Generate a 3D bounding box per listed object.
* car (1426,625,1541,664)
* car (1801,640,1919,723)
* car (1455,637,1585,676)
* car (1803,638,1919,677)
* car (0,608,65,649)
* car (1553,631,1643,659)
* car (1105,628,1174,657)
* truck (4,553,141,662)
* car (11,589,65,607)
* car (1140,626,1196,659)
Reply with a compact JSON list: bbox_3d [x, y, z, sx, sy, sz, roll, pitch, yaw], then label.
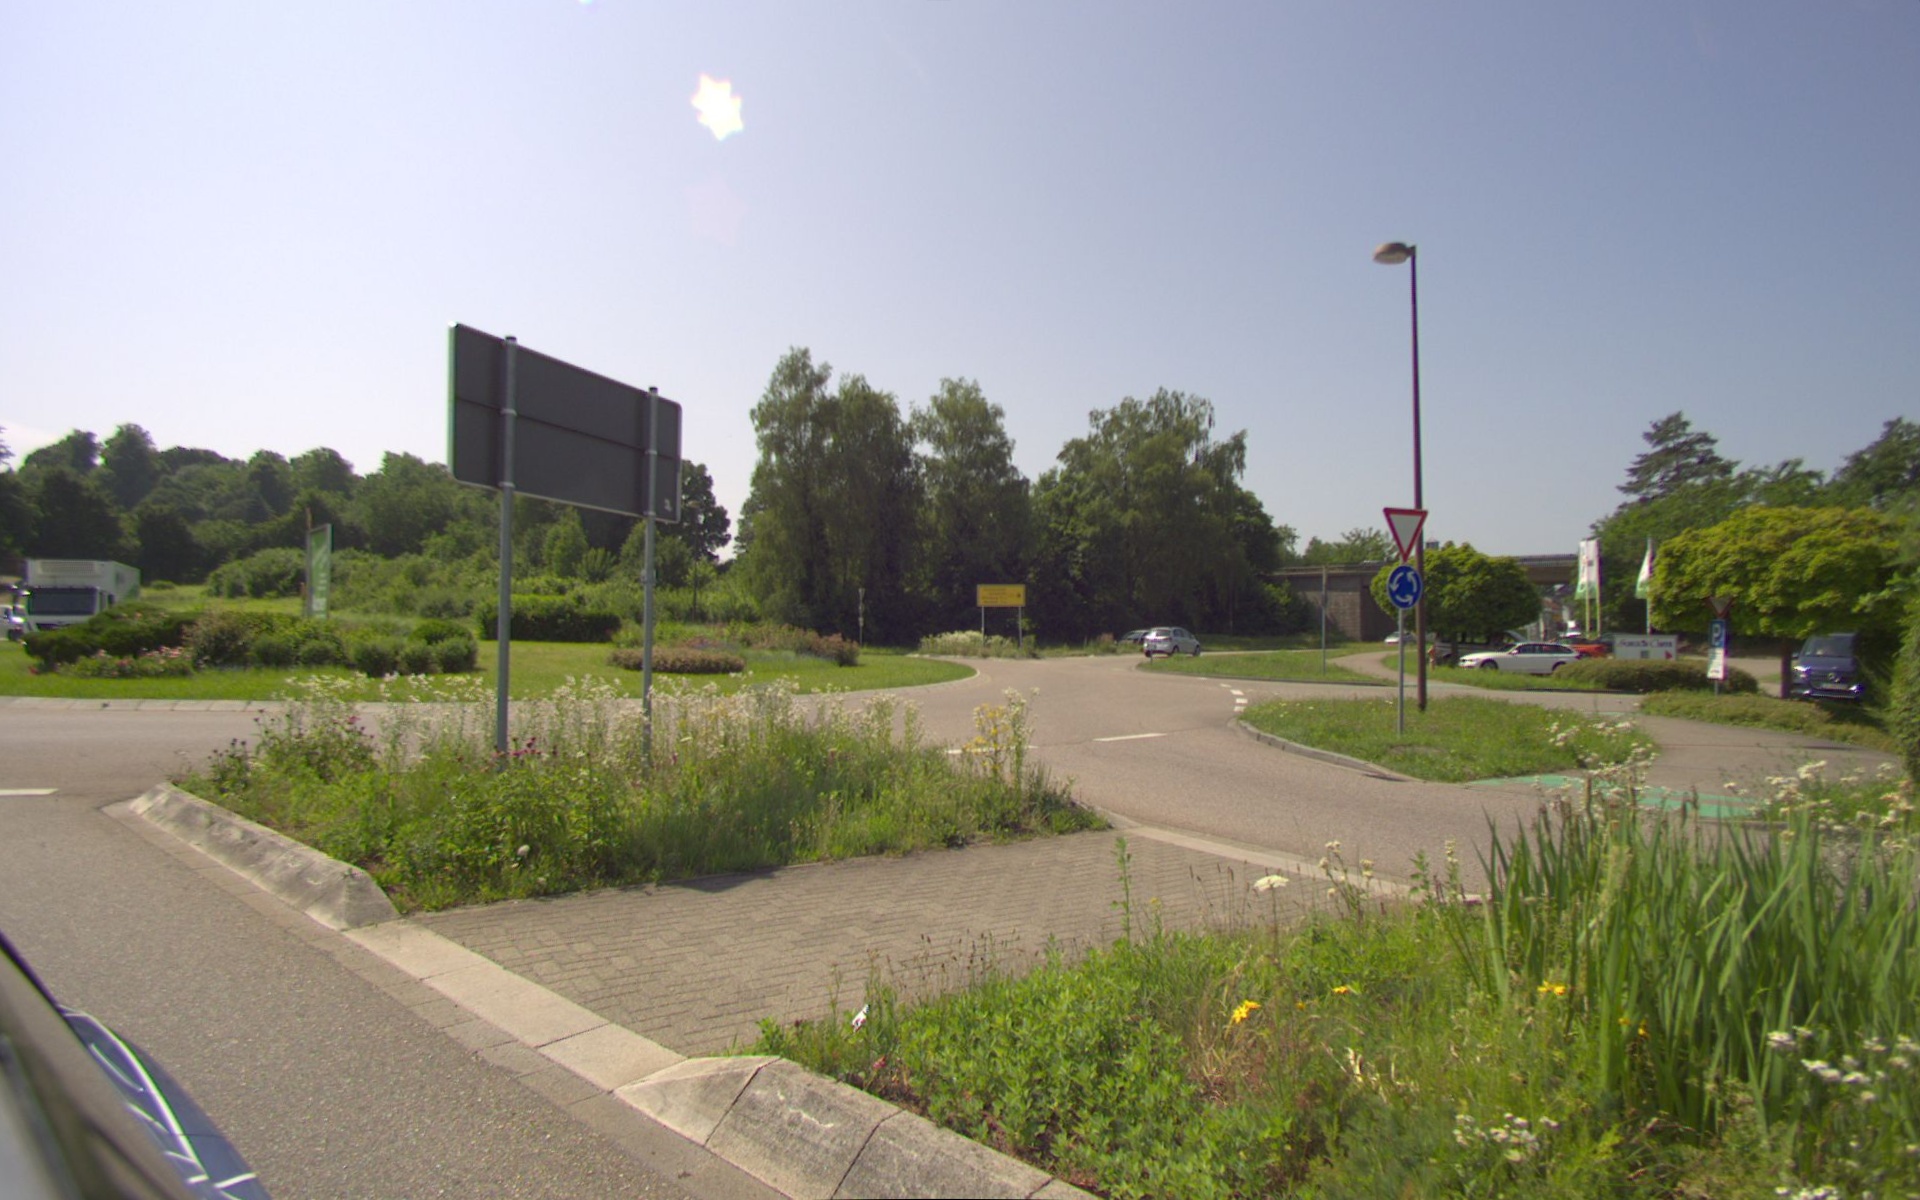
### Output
[{"bbox_3d":[23.946,1.988,46.364,4.404,1.573,1.851,0,0,41],"label":"car"},{"bbox_3d":[23.494,2.002,25.946,3.933,1.807,2.005,0,0,-35],"label":"car"},{"bbox_3d":[23.104,2.309,41.834,4.499,1.509,1.587,0,0,-2],"label":"car"},{"bbox_3d":[36.954,2.331,41.537,1.579,1.390,3.478,0,0,-44],"label":"car"},{"bbox_3d":[-49.829,1.465,53.151,5.565,2.029,1.985,0,0,23],"label":"car"},{"bbox_3d":[41.796,2.912,66.354,4.640,1.665,2.000,-1,0,45],"label":"car"},{"bbox_3d":[11.442,2.663,64.328,4.569,1.665,2.031,0,0,-44],"label":"car"},{"bbox_3d":[-35.172,0.252,40.458,2.851,3.858,9.049,0,0,-33],"label":"truck"},{"bbox_3d":[-96.816,-0.190,106.364,1.734,1.542,4.211,1,-4,1],"label":"car"},{"bbox_3d":[11.109,2.207,53.831,1.785,1.564,3.958,0,0,30],"label":"car"}]
